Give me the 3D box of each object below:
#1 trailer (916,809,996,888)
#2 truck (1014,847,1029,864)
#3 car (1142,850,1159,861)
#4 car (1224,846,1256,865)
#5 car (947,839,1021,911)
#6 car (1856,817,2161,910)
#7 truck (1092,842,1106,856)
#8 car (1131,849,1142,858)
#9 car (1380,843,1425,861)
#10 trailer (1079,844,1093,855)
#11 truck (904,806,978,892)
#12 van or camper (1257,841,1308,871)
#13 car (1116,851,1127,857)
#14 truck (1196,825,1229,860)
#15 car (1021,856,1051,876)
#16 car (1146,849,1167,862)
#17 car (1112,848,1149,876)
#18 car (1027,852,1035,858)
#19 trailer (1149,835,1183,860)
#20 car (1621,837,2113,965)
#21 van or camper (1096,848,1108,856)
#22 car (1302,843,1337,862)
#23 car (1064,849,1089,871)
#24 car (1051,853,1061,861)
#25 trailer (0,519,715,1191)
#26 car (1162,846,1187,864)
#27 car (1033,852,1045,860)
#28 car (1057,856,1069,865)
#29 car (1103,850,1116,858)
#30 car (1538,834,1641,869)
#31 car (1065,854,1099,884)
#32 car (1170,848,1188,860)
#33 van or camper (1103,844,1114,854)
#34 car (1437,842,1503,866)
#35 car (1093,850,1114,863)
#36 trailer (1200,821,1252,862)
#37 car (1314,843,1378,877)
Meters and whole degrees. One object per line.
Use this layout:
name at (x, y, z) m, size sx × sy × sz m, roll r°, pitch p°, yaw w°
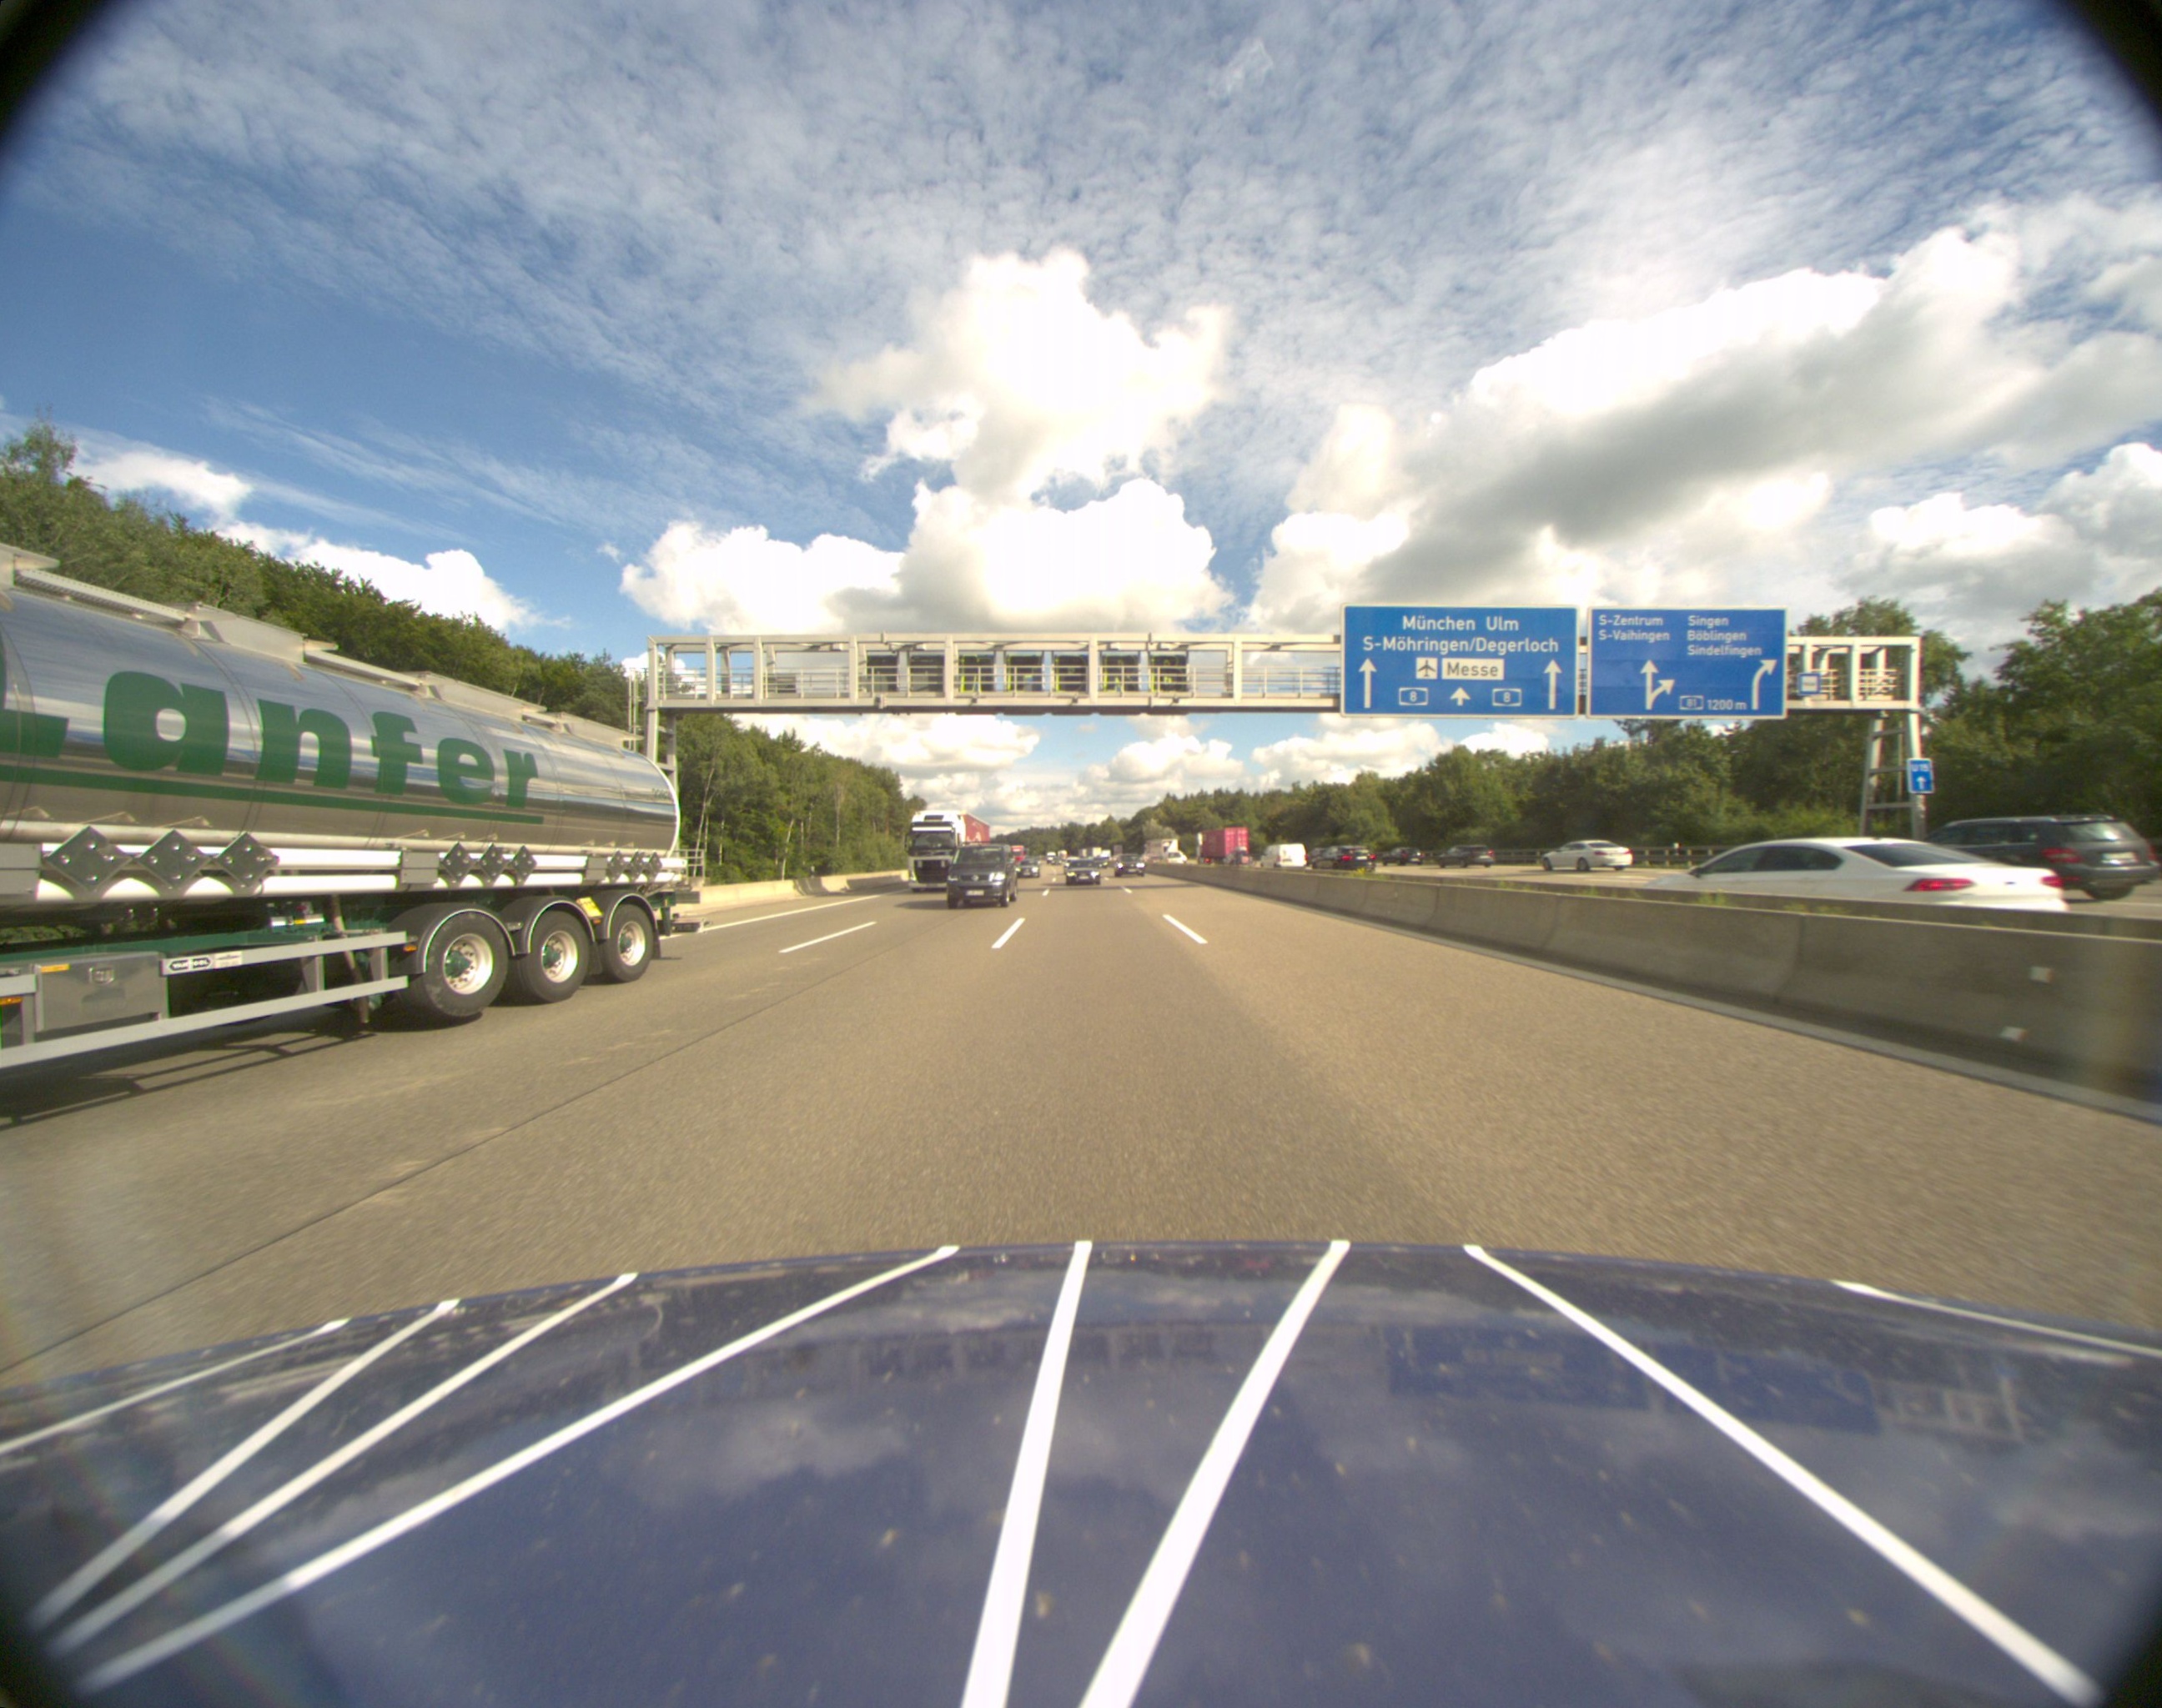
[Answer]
trailer at (-7.224, -0.290, 46.017) m, size 2.781 × 4.021 × 13.710 m, roll -2°, pitch 0°, yaw -1°
truck at (-13.312, 0.392, 168.663) m, size 3.019 × 3.662 × 7.556 m, roll -1°, pitch 0°, yaw -6°
car at (10.519, 0.246, 114.985) m, size 1.862 × 1.517 × 4.993 m, roll -2°, pitch 0°, yaw -3°
car at (13.394, 0.106, 64.176) m, size 1.703 × 1.519 × 4.684 m, roll -2°, pitch 0°, yaw 0°
car at (-3.119, 0.624, 25.371) m, size 1.854 × 2.097 × 4.931 m, roll -2°, pitch 0°, yaw -1°
car at (19.267, 0.152, 15.956) m, size 1.670 × 1.630 × 4.480 m, roll -2°, pitch 0°, yaw 5°
truck at (5.464, -1.612, 237.644) m, size 2.827 × 4.070 × 13.838 m, roll -2°, pitch 0°, yaw -5°
car at (10.087, -0.141, 138.707) m, size 1.712 × 1.584 × 4.943 m, roll -2°, pitch 0°, yaw 0°
car at (25.071, -0.143, 59.405) m, size 1.706 × 1.280 × 4.182 m, roll -2°, pitch 0°, yaw -1°
trailer at (1.655, -1.547, 262.585) m, size 2.976 × 3.835 × 11.272 m, roll -2°, pitch 0°, yaw -8°
truck at (-7.083, -0.244, 39.330) m, size 2.781 × 4.022 × 5.772 m, roll -2°, pitch 0°, yaw -1°
van or camper at (13.379, 0.096, 50.752) m, size 1.867 × 1.839 × 5.154 m, roll -2°, pitch 0°, yaw -1°
car at (8.825, 0.009, 166.138) m, size 1.999 × 1.354 × 4.381 m, roll -2°, pitch 0°, yaw -3°
truck at (15.969, -1.355, 92.540) m, size 2.746 × 4.083 × 5.763 m, roll -2°, pitch 1°, yaw -2°
car at (-3.501, 0.885, 59.325) m, size 2.153 × 1.426 × 5.097 m, roll -2°, pitch 0°, yaw -3°
car at (8.817, 0.173, 89.216) m, size 1.798 × 1.367 × 4.547 m, roll -2°, pitch 0°, yaw -3°
car at (3.420, 0.511, 53.661) m, size 2.153 × 1.800 × 5.098 m, roll -2°, pitch 1°, yaw 0°
car at (-14.553, 0.240, 221.928) m, size 2.153 × 1.806 × 4.675 m, roll -2°, pitch 0°, yaw -4°
trailer at (14.827, -1.183, 134.468) m, size 3.327 × 4.083 × 14.148 m, roll -2°, pitch 0°, yaw -4°
car at (10.074, 0.488, 10.497) m, size 1.727 × 1.302 × 4.881 m, roll -2°, pitch 0°, yaw 0°
van or camper at (5.259, -0.478, 190.902) m, size 2.000 × 1.926 × 5.454 m, roll -2°, pitch 0°, yaw -7°
car at (20.980, -0.132, 67.091) m, size 1.821 × 1.604 × 4.146 m, roll -2°, pitch 0°, yaw 1°
car at (-0.438, 0.518, 68.255) m, size 2.153 × 1.800 × 5.098 m, roll -2°, pitch 1°, yaw -1°
car at (-5.779, 0.619, 173.834) m, size 2.153 × 1.806 × 4.675 m, roll -2°, pitch 0°, yaw -4°
trailer at (-7.341, 0.012, 6.419) m, size 2.655 × 3.745 × 11.859 m, roll -1°, pitch 0°, yaw 0°
car at (9.102, 0.101, 73.982) m, size 1.774 × 1.639 × 4.519 m, roll -2°, pitch 0°, yaw -1°
car at (-7.850, 0.364, 142.805) m, size 2.153 × 1.540 × 4.675 m, roll -2°, pitch 0°, yaw -3°
car at (-3.405, 1.189, 140.458) m, size 2.153 × 1.540 × 4.675 m, roll -2°, pitch 0°, yaw -3°
car at (5.557, 0.002, 147.846) m, size 1.999 × 1.354 × 4.618 m, roll -2°, pitch 0°, yaw -3°
car at (24.750, -0.113, 37.239) m, size 1.821 × 1.536 × 5.131 m, roll -2°, pitch 0°, yaw 3°
car at (0.083, 0.770, 41.534) m, size 1.733 × 1.500 × 4.728 m, roll -2°, pitch 0°, yaw 1°
car at (14.756, -0.003, 115.090) m, size 1.798 × 1.608 × 5.043 m, roll -2°, pitch 0°, yaw -2°
van or camper at (7.680, -1.454, 214.407) m, size 2.381 × 2.875 × 6.503 m, roll 0°, pitch 0°, yaw -5°
car at (24.630, 0.000, 48.323) m, size 1.706 × 1.432 × 4.706 m, roll -2°, pitch 0°, yaw -1°
car at (2.735, 0.305, 92.032) m, size 2.153 × 1.540 × 4.676 m, roll -2°, pitch 0°, yaw -2°
trailer at (16.170, -1.329, 85.873) m, size 2.746 × 4.083 × 13.413 m, roll -2°, pitch 0°, yaw -2°
car at (13.711, 0.291, 39.538) m, size 1.703 × 1.620 × 4.498 m, roll -2°, pitch 0°, yaw 0°
